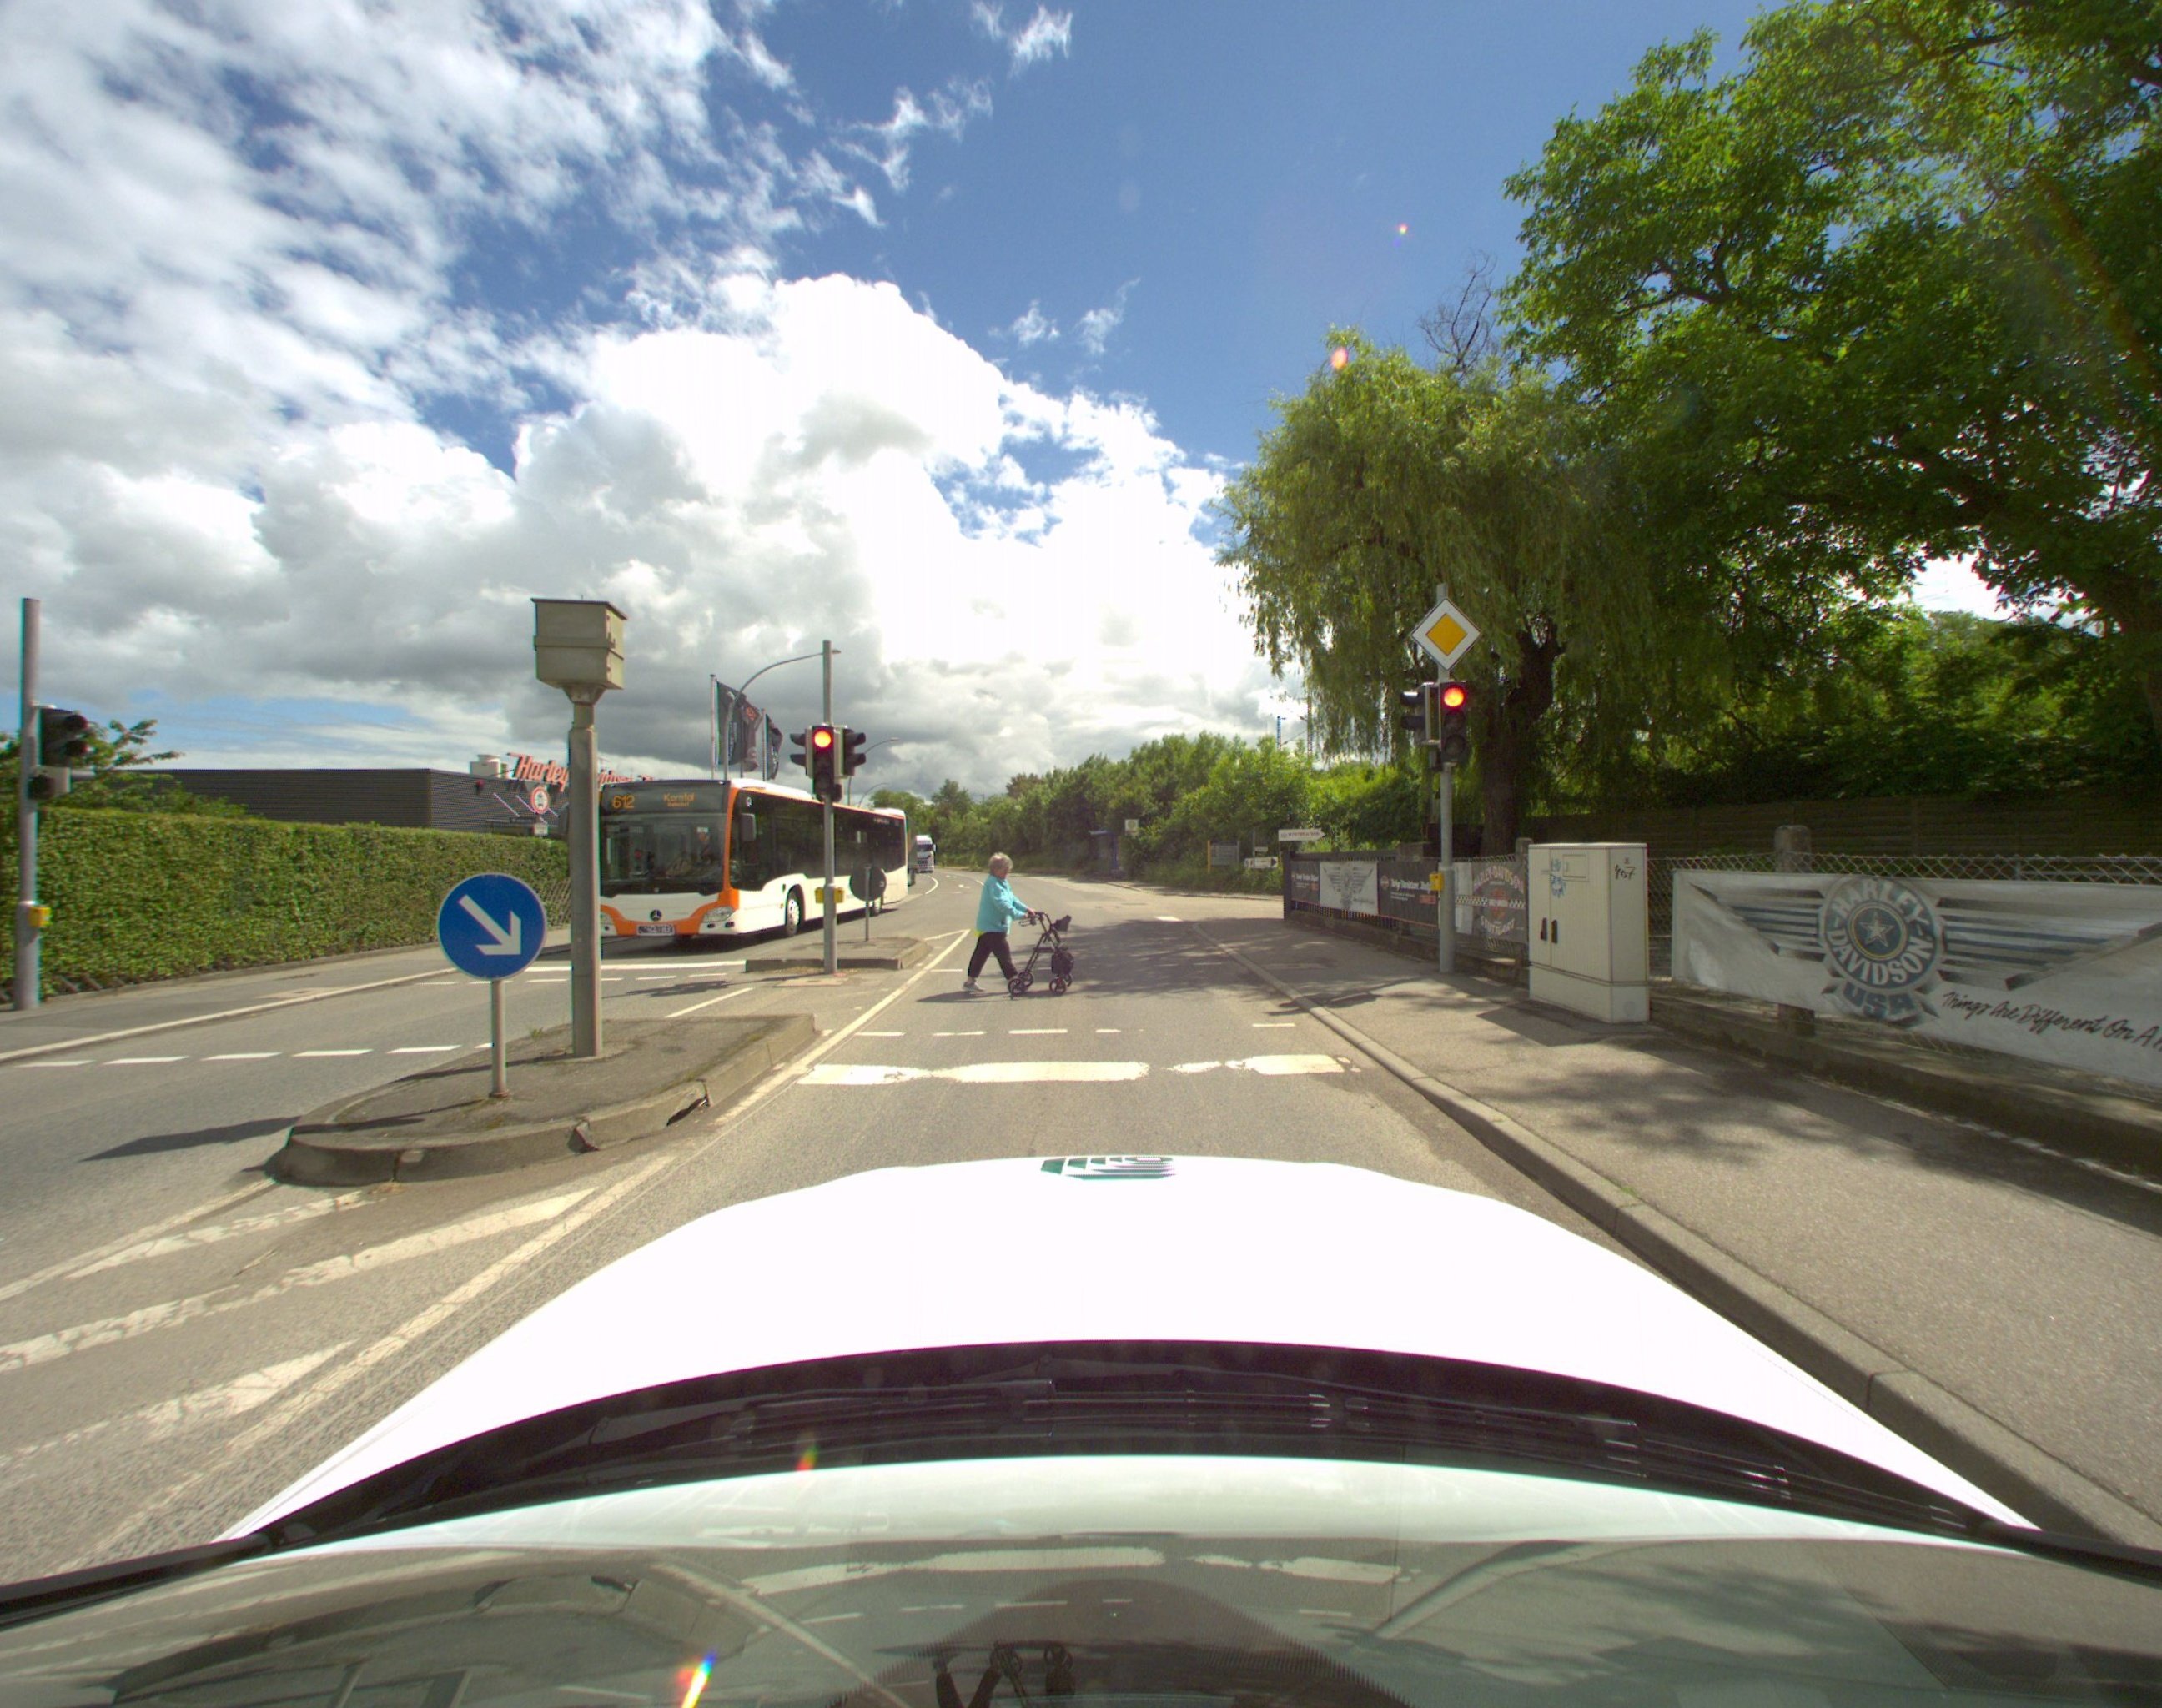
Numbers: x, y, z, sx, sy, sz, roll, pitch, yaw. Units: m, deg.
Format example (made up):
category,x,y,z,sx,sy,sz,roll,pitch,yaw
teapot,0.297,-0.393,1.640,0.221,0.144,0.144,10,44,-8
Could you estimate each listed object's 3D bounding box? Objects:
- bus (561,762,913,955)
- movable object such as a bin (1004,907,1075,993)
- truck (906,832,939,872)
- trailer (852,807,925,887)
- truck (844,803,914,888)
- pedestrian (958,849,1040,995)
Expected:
category,x,y,z,sx,sy,sz,roll,pitch,yaw
bus,-6.813,0.123,19.268,2.708,3.031,12.270,-2,-1,2
movable object such as a bin,-0.451,1.053,9.051,0.744,0.871,0.670,0,-1,-2
truck,-17.151,-0.205,87.846,2.781,4.119,4.952,0,-1,-20
trailer,-11.285,-0.285,49.296,2.797,4.053,15.512,0,-1,-8
truck,-10.306,-0.389,42.083,2.797,4.053,6.483,0,-1,-8
pedestrian,-0.889,0.728,9.035,0.836,1.543,0.733,0,-1,-2
